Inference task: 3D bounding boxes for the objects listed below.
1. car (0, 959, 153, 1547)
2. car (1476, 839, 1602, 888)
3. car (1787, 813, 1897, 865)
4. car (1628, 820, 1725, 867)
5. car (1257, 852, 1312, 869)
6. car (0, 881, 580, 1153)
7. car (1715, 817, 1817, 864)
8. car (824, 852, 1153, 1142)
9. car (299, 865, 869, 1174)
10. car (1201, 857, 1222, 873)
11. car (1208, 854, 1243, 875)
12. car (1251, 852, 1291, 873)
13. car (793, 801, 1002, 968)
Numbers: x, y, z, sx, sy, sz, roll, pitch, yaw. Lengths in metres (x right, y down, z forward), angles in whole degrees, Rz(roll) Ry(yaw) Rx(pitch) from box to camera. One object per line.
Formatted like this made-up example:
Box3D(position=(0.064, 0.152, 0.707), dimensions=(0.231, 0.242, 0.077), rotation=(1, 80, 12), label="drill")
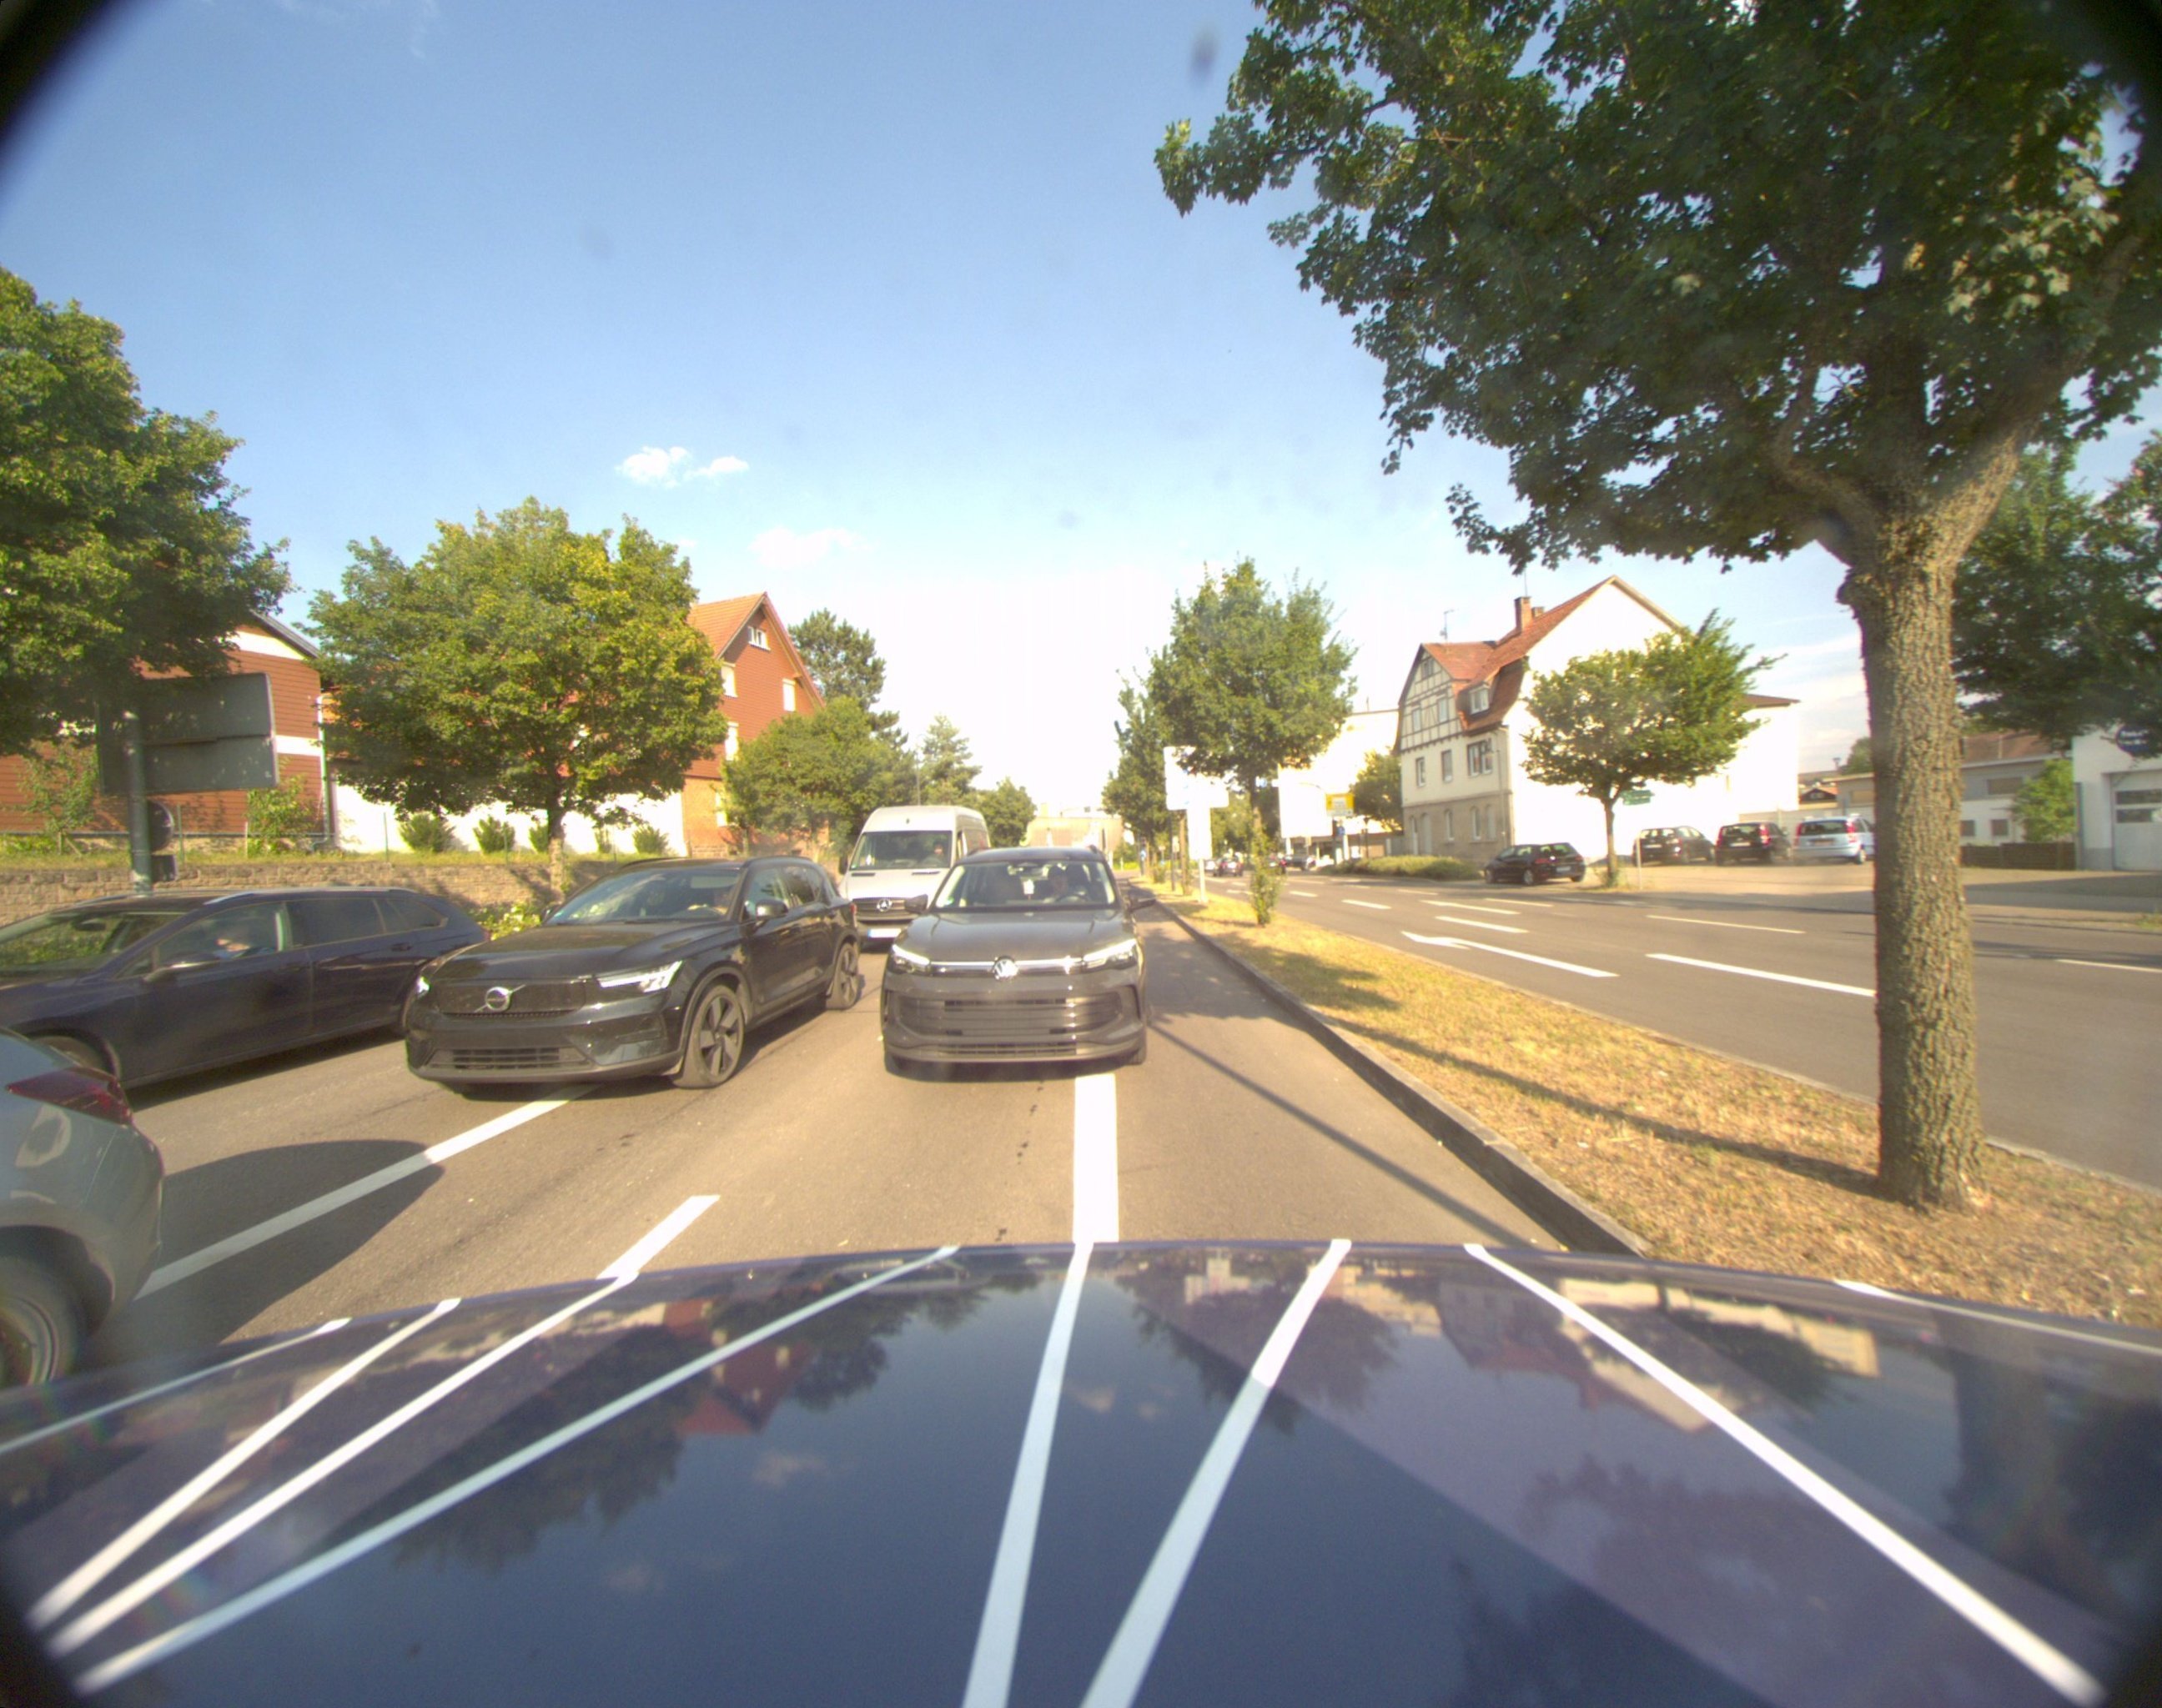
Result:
Box3D(position=(-3.614, 1.063, 0.123), dimensions=(1.748, 1.433, 4.166), rotation=(-2, 0, 0), label="car")
Box3D(position=(15.986, 0.306, 26.799), dimensions=(1.839, 1.435, 4.195), rotation=(-5, 0, 1), label="car")
Box3D(position=(24.957, -0.489, 24.889), dimensions=(4.006, 1.543, 1.763), rotation=(-2, 1, -33), label="car")
Box3D(position=(23.410, -0.430, 29.833), dimensions=(4.006, 1.543, 1.764), rotation=(-4, 1, -33), label="car")
Box3D(position=(18.593, 0.631, 69.441), dimensions=(4.660, 1.346, 1.768), rotation=(-2, 1, 9), label="car")
Box3D(position=(-6.924, 1.117, 6.873), dimensions=(1.820, 1.510, 4.201), rotation=(-2, 0, 2), label="car")
Box3D(position=(24.883, -0.491, 27.563), dimensions=(4.006, 1.543, 1.763), rotation=(-2, 1, -33), label="car")
Box3D(position=(-0.489, 0.847, 6.868), dimensions=(1.894, 1.647, 4.730), rotation=(-2, 0, 1), label="car")
Box3D(position=(-3.363, 0.964, 6.321), dimensions=(1.886, 1.599, 4.128), rotation=(-2, 0, 2), label="car")
Box3D(position=(12.435, 1.030, 72.398), dimensions=(1.783, 1.341, 4.482), rotation=(-2, 0, 11), label="car")
Box3D(position=(10.457, 0.735, 55.251), dimensions=(1.649, 1.378, 4.189), rotation=(-2, 0, -1), label="car")
Box3D(position=(14.066, 0.586, 56.478), dimensions=(1.848, 1.413, 4.644), rotation=(-2, 0, 1), label="car")
Box3D(position=(-3.186, 0.458, 14.956), dimensions=(2.370, 2.532, 6.192), rotation=(-2, 0, 2), label="car")
